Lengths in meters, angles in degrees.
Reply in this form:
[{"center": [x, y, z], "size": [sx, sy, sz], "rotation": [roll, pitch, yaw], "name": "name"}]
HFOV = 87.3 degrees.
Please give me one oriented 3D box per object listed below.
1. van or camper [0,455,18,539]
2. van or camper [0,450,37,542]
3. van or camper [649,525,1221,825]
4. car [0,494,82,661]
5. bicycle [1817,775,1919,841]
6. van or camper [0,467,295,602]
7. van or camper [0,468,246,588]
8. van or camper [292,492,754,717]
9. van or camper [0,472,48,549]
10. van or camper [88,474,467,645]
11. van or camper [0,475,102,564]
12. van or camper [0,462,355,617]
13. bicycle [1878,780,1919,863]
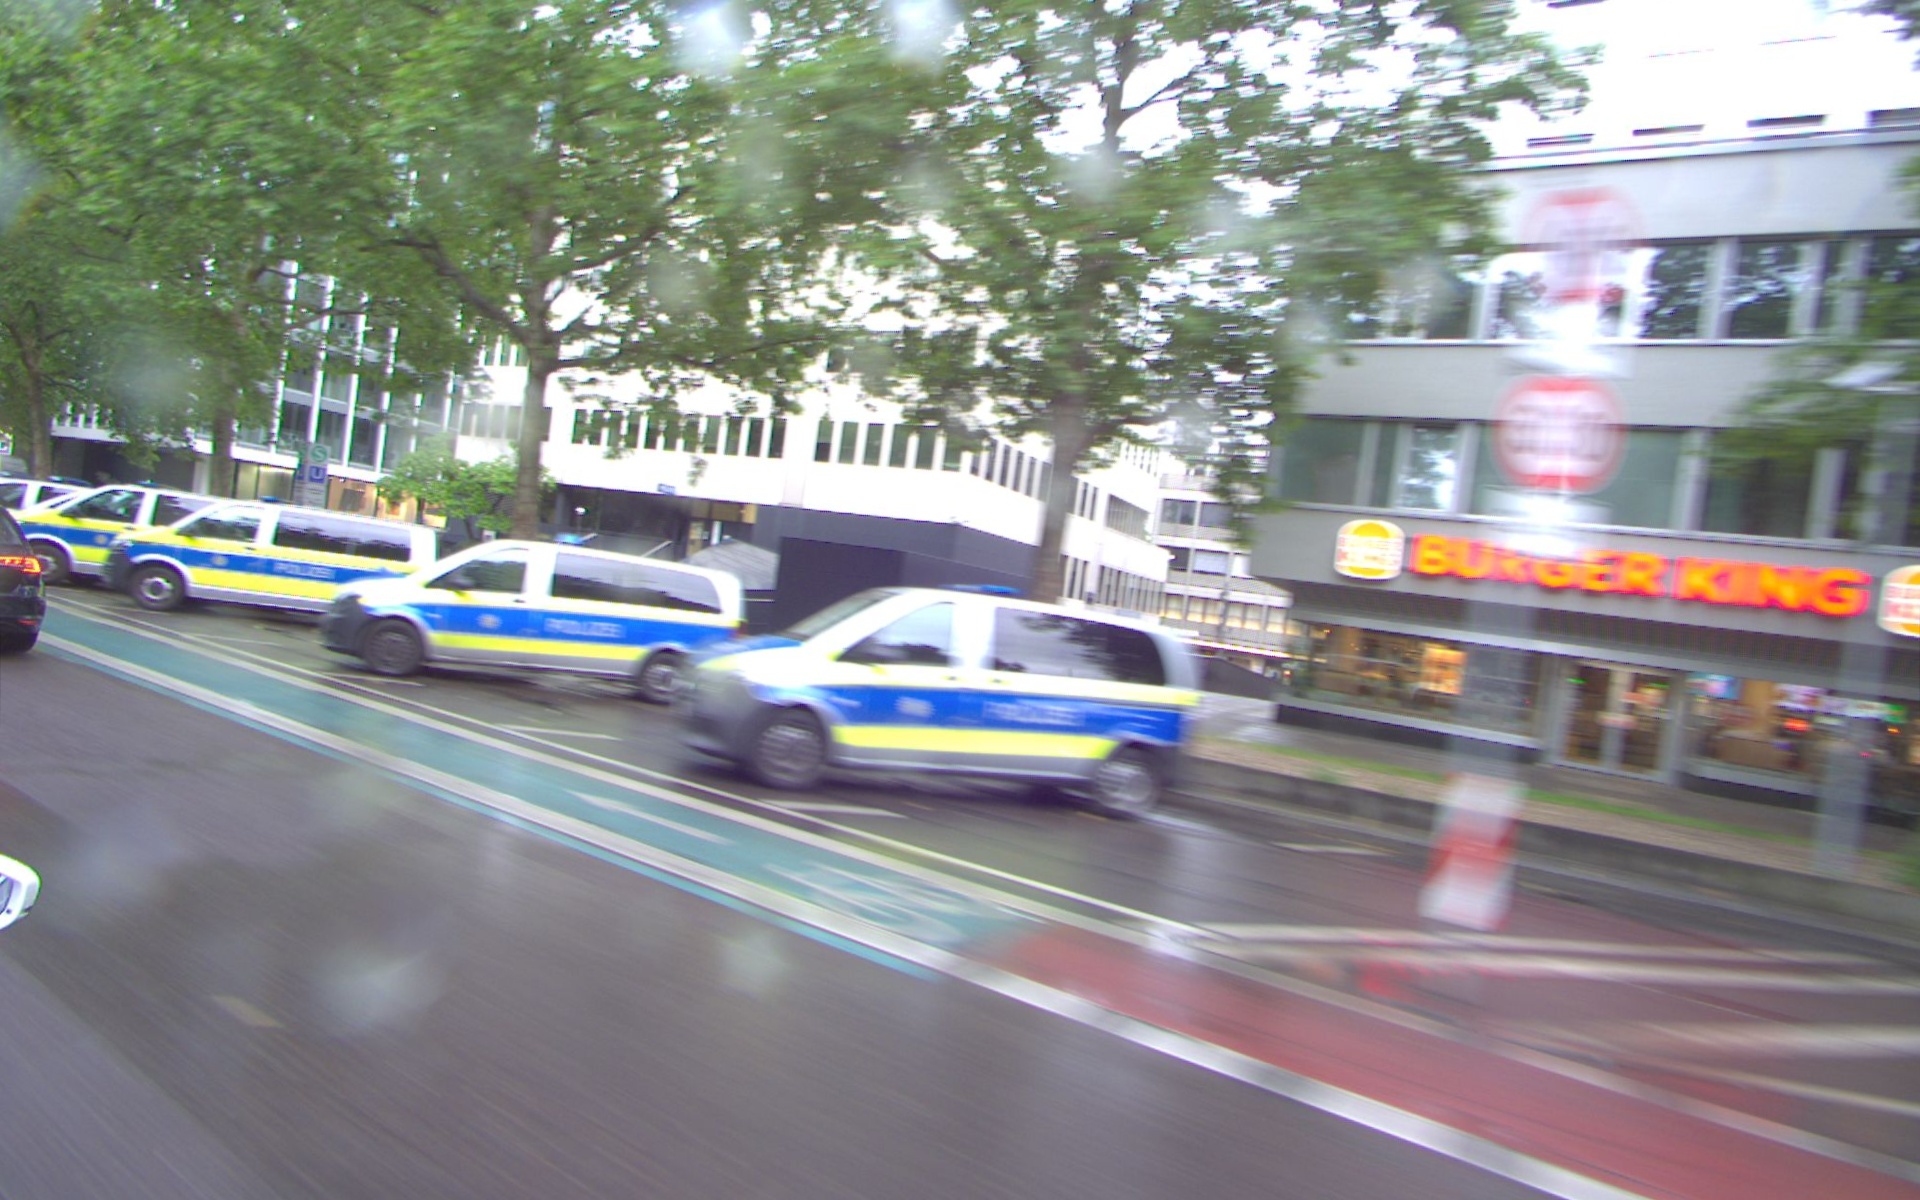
[{"center": [-33.893, -3.739, 31.533], "size": [5.737, 2.709, 2.137], "rotation": [8, -1, -21], "name": "van or camper"}, {"center": [-31.514, -3.502, 29.684], "size": [5.736, 2.713, 1.989], "rotation": [8, 0, -23], "name": "van or camper"}, {"center": [-0.258, 0.757, 9.568], "size": [4.880, 2.015, 1.994], "rotation": [9, -2, -21], "name": "van or camper"}, {"center": [-10.268, -0.430, 9.458], "size": [3.932, 1.430, 1.768], "rotation": [7, 0, 30], "name": "car"}, {"center": [15.742, 3.546, 16.894], "size": [1.879, 0.829, 0.643], "rotation": [7, 0, 23], "name": "bicycle"}, {"center": [-16.921, -1.307, 20.729], "size": [4.963, 2.019, 1.987], "rotation": [8, -1, -26], "name": "van or camper"}, {"center": [-19.657, -1.647, 22.842], "size": [5.038, 2.049, 2.096], "rotation": [8, -1, -21], "name": "van or camper"}, {"center": [-5.527, 0.139, 13.337], "size": [5.022, 2.042, 1.987], "rotation": [9, -2, -22], "name": "van or camper"}, {"center": [-28.968, -2.801, 27.834], "size": [4.951, 2.037, 1.990], "rotation": [8, -2, -23], "name": "van or camper"}, {"center": [-11.138, -0.590, 16.912], "size": [4.790, 2.022, 1.859], "rotation": [8, -1, -22], "name": "van or camper"}, {"center": [-25.909, -2.355, 25.979], "size": [5.144, 2.015, 1.989], "rotation": [9, -2, -24], "name": "van or camper"}, {"center": [-14.336, -1.027, 18.819], "size": [4.732, 2.034, 1.990], "rotation": [8, -1, -22], "name": "van or camper"}, {"center": [12.845, 2.925, 12.534], "size": [1.881, 0.935, 0.641], "rotation": [7, 2, 31], "name": "bicycle"}]
